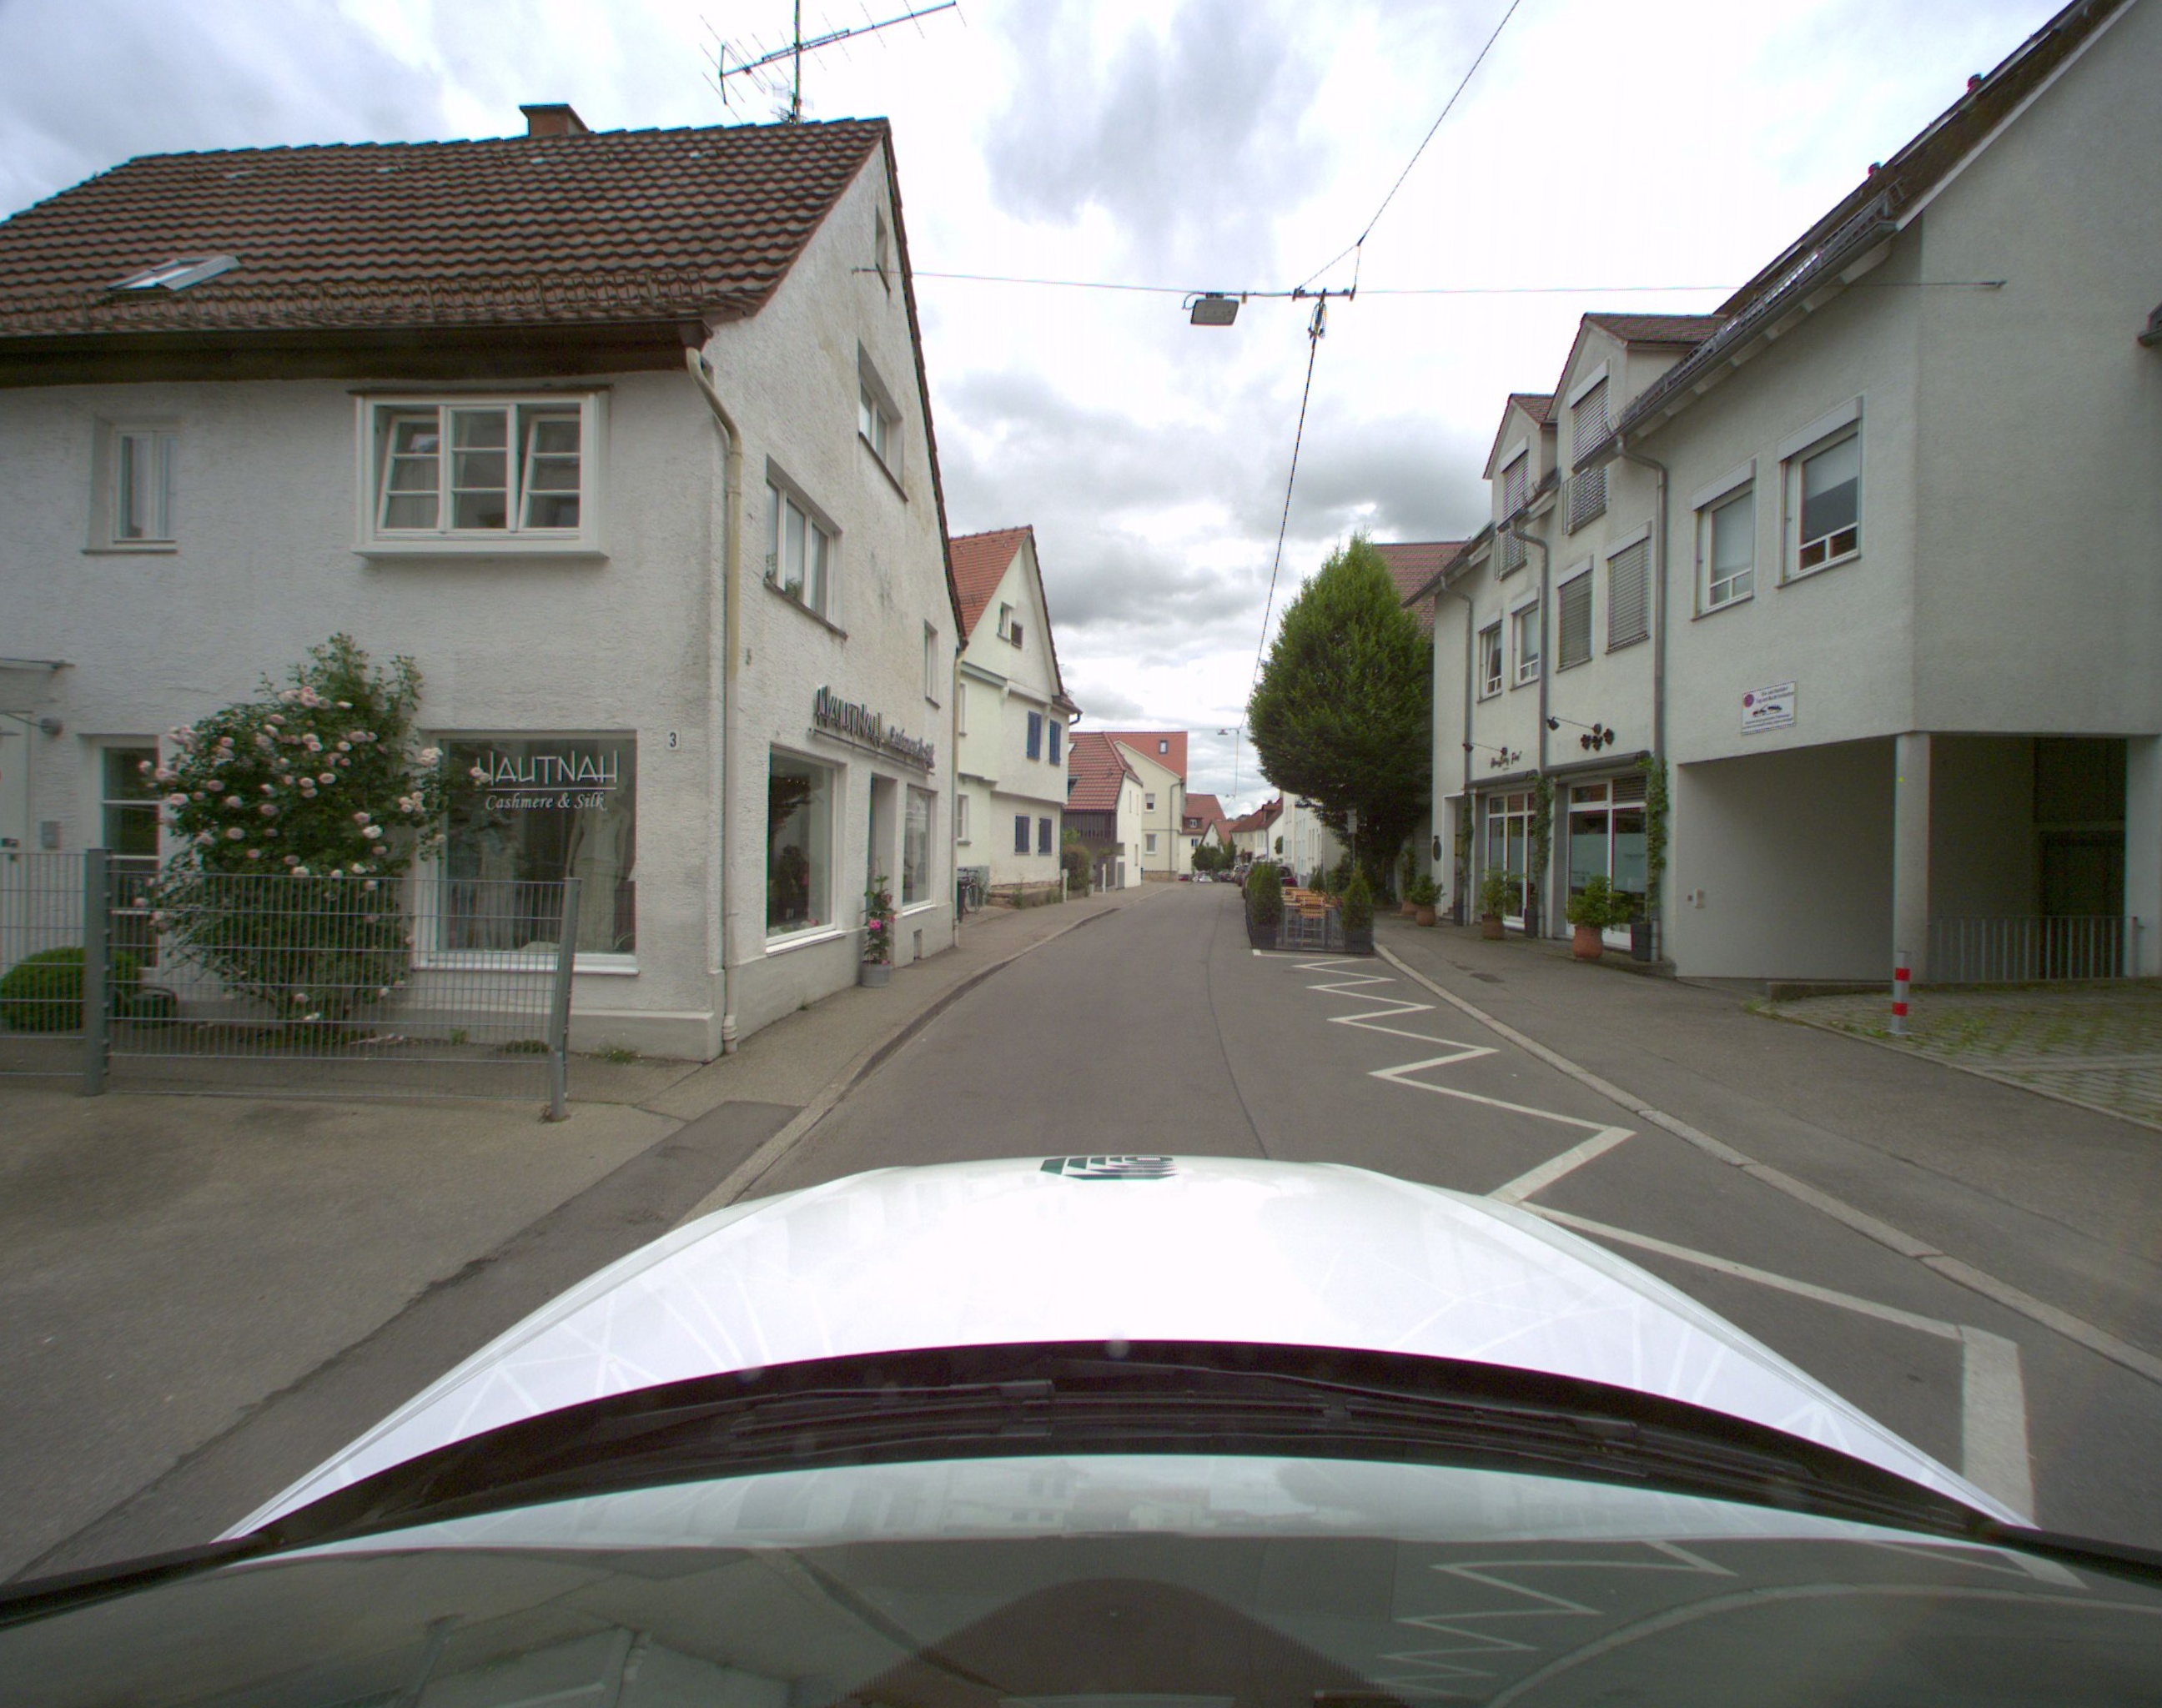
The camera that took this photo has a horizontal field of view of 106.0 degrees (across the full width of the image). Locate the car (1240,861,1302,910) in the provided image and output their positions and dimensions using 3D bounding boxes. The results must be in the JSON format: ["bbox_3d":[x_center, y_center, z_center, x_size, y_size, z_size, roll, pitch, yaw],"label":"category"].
[{"bbox_3d":[6.675,1.048,28.947,1.935,1.508,4.835,1,0,11],"label":"car"}]

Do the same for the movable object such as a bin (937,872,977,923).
[{"bbox_3d":[-2.647,0.917,17.470,0.549,0.999,0.590,6,3,20],"label":"movable object such as a bin"}]

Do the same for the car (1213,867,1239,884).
[{"bbox_3d":[15.900,2.364,89.384,1.988,1.713,3.996,0,-3,-2],"label":"car"}]

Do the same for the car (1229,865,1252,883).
[{"bbox_3d":[15.397,1.938,78.677,1.863,1.713,4.155,1,-2,7],"label":"car"}]

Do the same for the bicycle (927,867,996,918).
[{"bbox_3d":[-2.715,0.851,18.774,0.438,1.039,2.104,5,2,24],"label":"bicycle"}]

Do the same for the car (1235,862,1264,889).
[{"bbox_3d":[11.094,1.404,53.665,1.742,1.628,4.549,2,0,12],"label":"car"}]

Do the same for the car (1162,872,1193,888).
[{"bbox_3d":[12.360,3.346,104.715,2.003,1.684,3.967,-4,-2,-25],"label":"car"}]

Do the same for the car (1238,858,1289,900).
[{"bbox_3d":[7.726,1.039,34.854,1.851,1.633,4.914,1,-1,10],"label":"car"}]

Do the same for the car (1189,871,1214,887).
[{"bbox_3d":[14.578,3.008,98.754,1.961,1.713,3.990,1,0,-7],"label":"car"}]
